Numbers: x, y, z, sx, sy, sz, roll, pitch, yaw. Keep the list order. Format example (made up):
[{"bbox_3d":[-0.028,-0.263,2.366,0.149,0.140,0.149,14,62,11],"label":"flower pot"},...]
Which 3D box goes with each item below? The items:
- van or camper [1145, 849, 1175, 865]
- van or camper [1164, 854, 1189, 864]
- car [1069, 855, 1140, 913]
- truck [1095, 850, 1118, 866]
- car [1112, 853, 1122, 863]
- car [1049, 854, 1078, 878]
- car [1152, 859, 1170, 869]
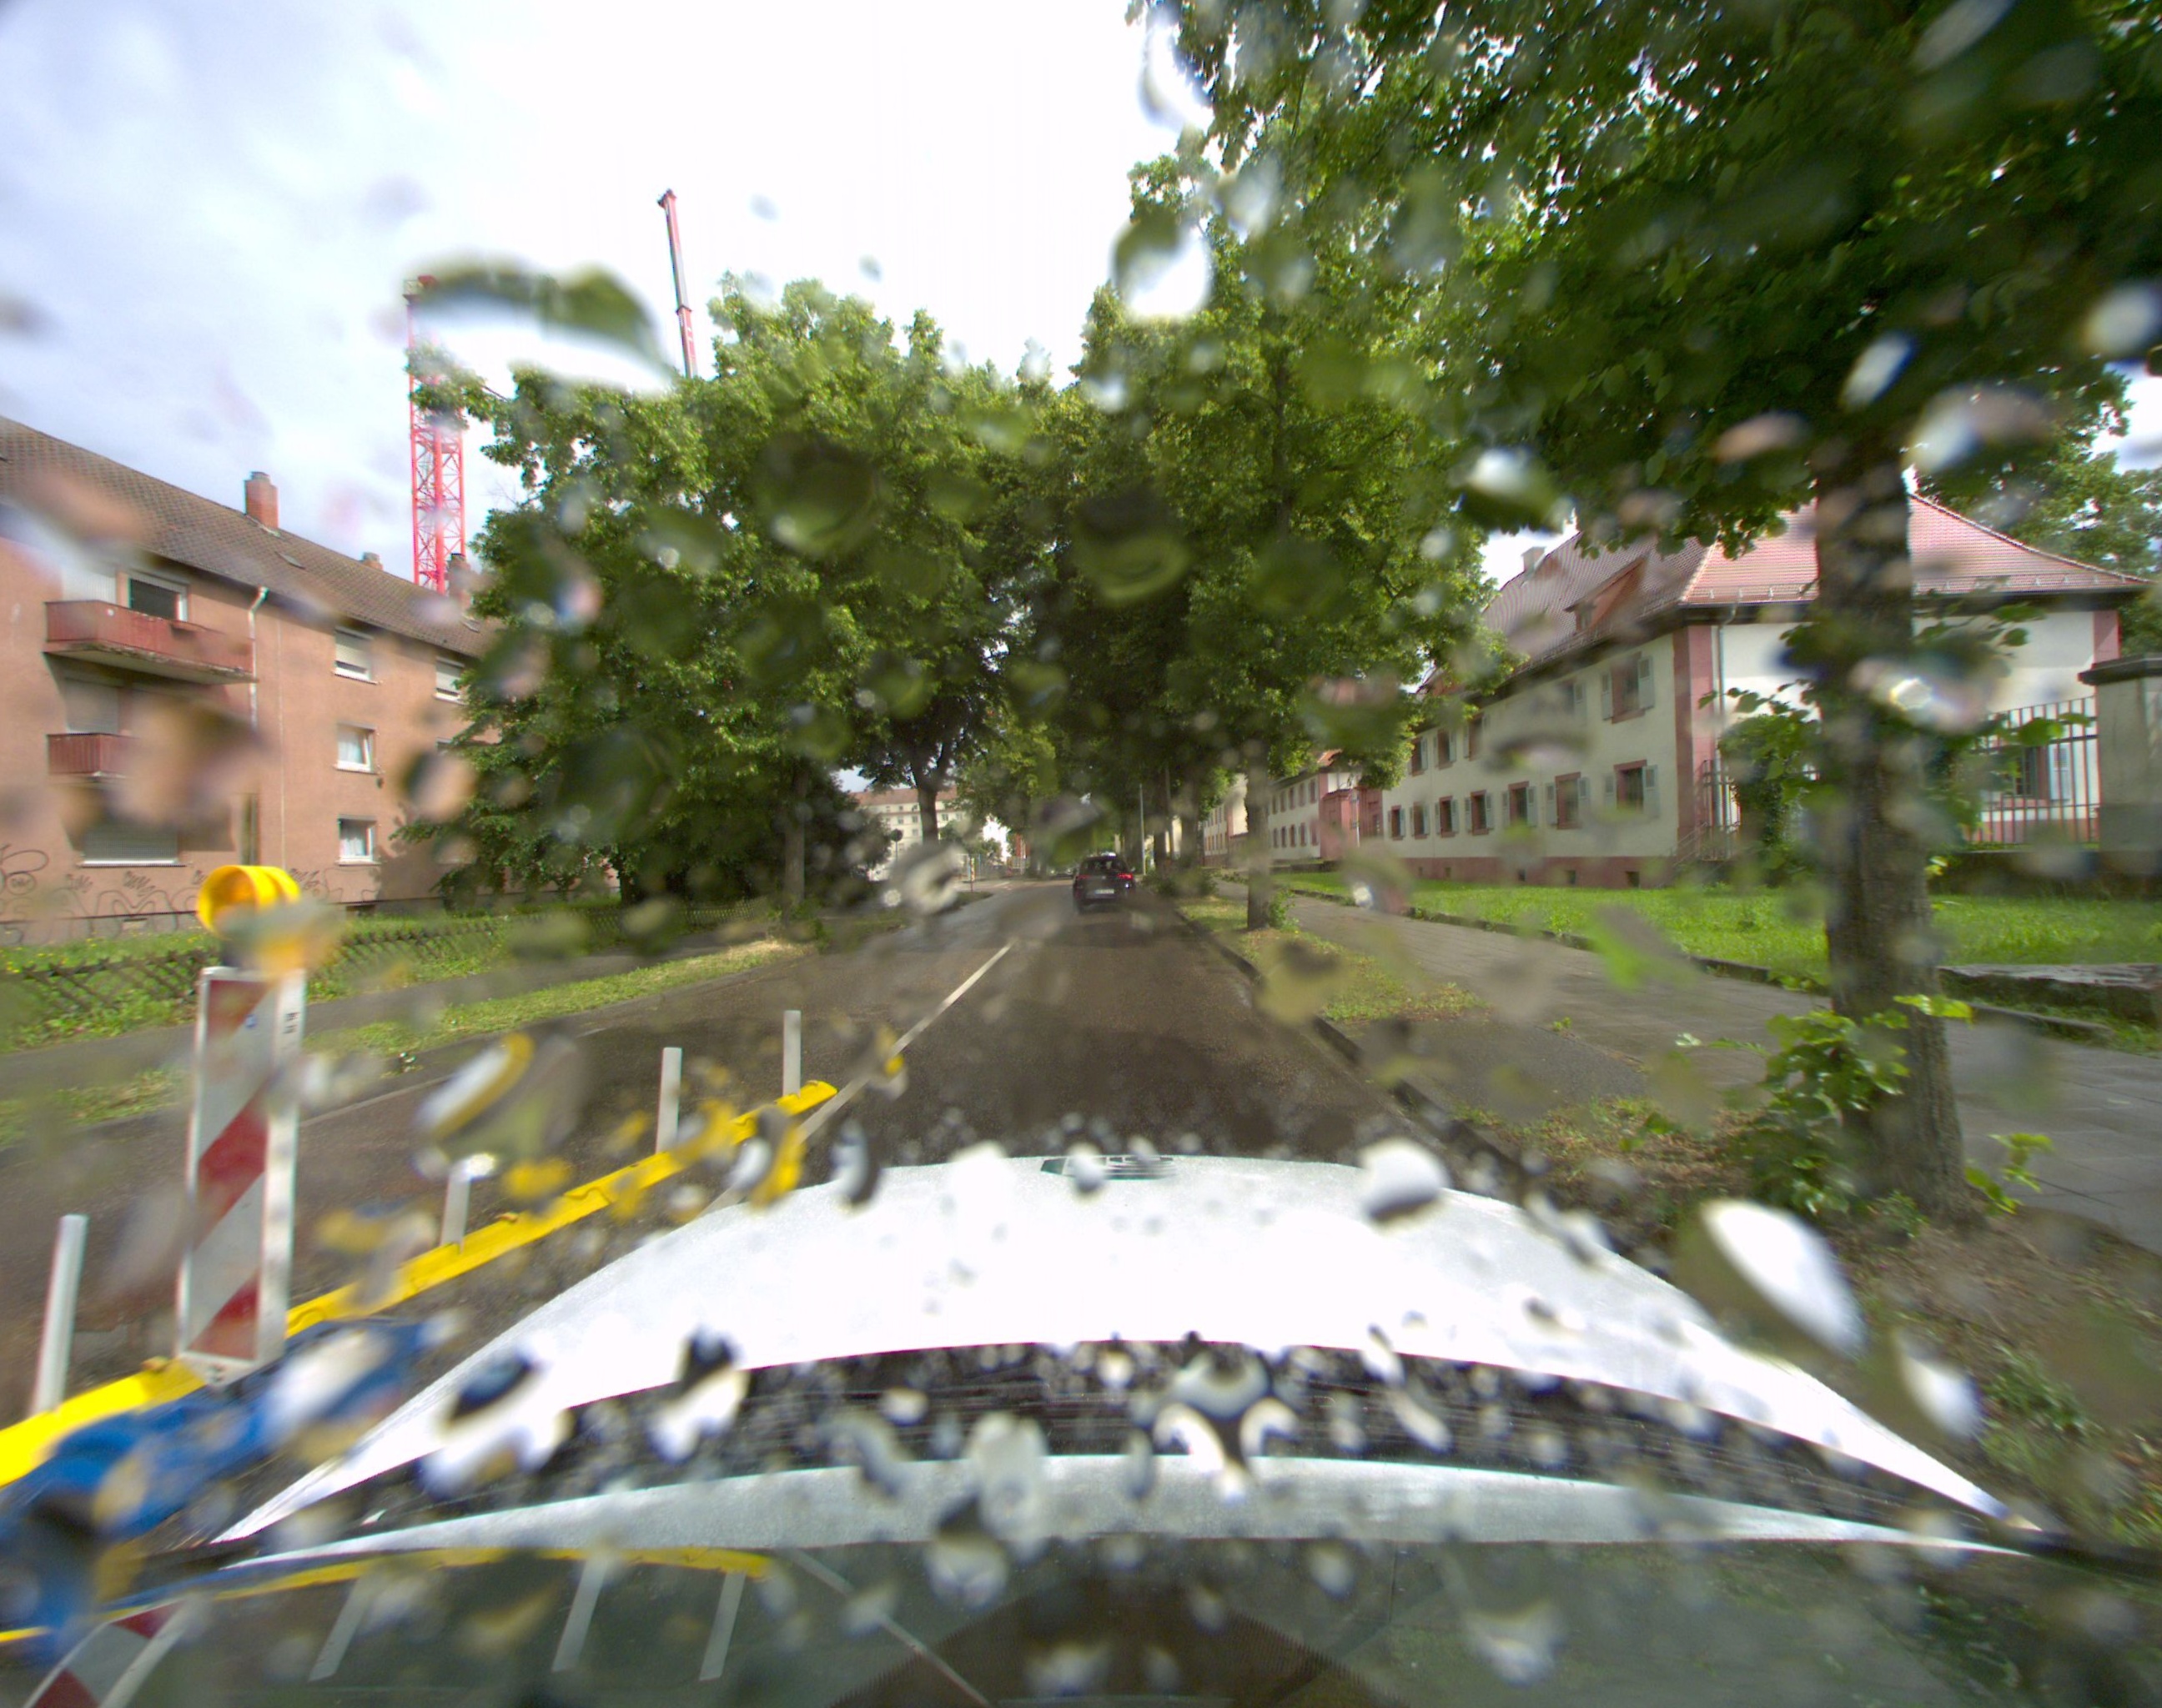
[{"bbox_3d":[14.182,0.562,146.477,5.016,2.596,2.168,-3,-1,0],"label":"van or camper"},{"bbox_3d":[19.120,1.010,163.149,4.856,1.925,2.132,-1,0,2],"label":"van or camper"},{"bbox_3d":[0.659,0.823,23.942,1.888,1.522,4.000,-1,-1,1],"label":"car"},{"bbox_3d":[4.423,0.699,142.868,2.803,2.656,8.219,-1,0,-7],"label":"truck"},{"bbox_3d":[8.446,1.014,191.834,1.984,2.014,4.005,-4,-4,6],"label":"car"},{"bbox_3d":[-1.336,0.920,62.807,1.879,1.713,4.231,-3,0,2],"label":"car"},{"bbox_3d":[17.218,2.107,175.195,3.386,1.781,1.765,-5,-1,10],"label":"car"}]
